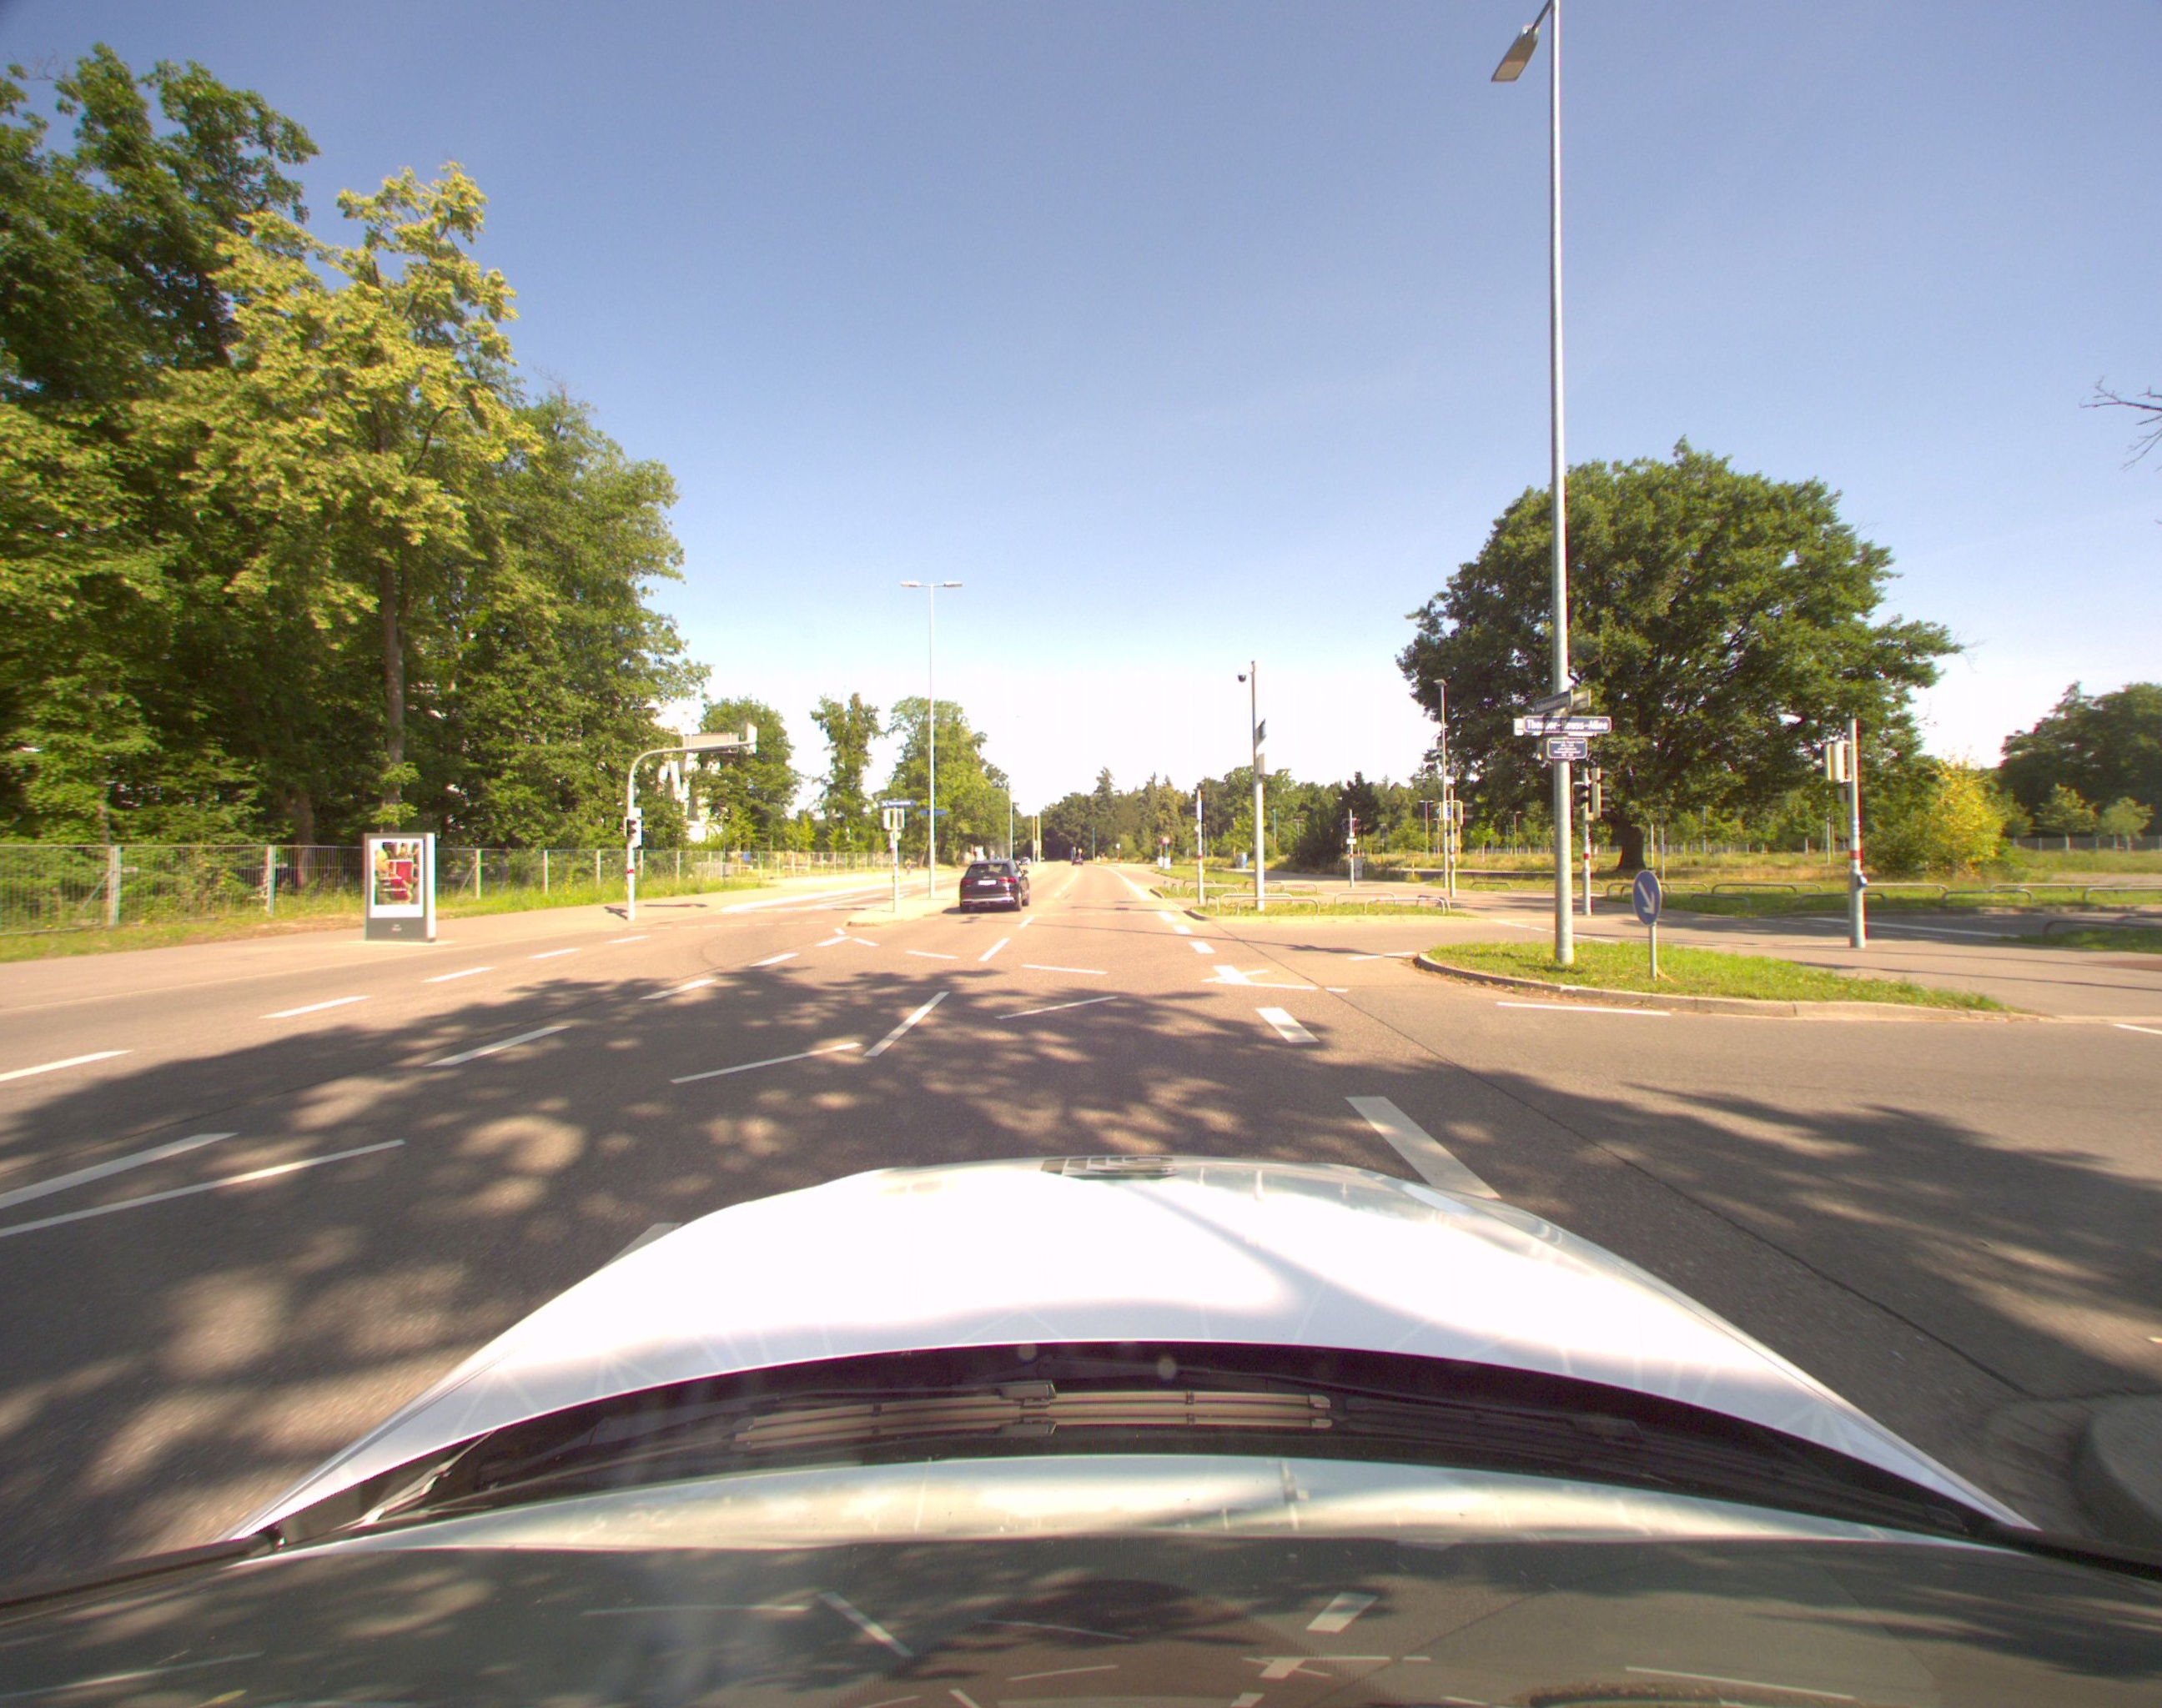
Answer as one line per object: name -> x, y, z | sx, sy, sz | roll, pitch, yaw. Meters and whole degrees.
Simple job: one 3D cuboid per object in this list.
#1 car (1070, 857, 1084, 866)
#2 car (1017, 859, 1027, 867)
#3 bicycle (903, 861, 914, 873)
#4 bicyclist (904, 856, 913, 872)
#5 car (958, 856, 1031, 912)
car -> -0.663, 1.189, 136.687 | 1.937, 1.420, 4.286 | -1, 0, -4
car -> -11.736, 1.771, 162.939 | 1.809, 1.388, 4.152 | -3, 0, -6
bicycle -> -16.815, 1.251, 79.264 | 0.657, 1.136, 1.878 | 0, 0, 0
bicyclist -> -16.798, 0.959, 79.261 | 0.657, 1.467, 1.057 | 0, 0, 0
car -> -2.586, 0.868, 25.318 | 1.681, 1.544, 4.149 | -2, 0, 1
